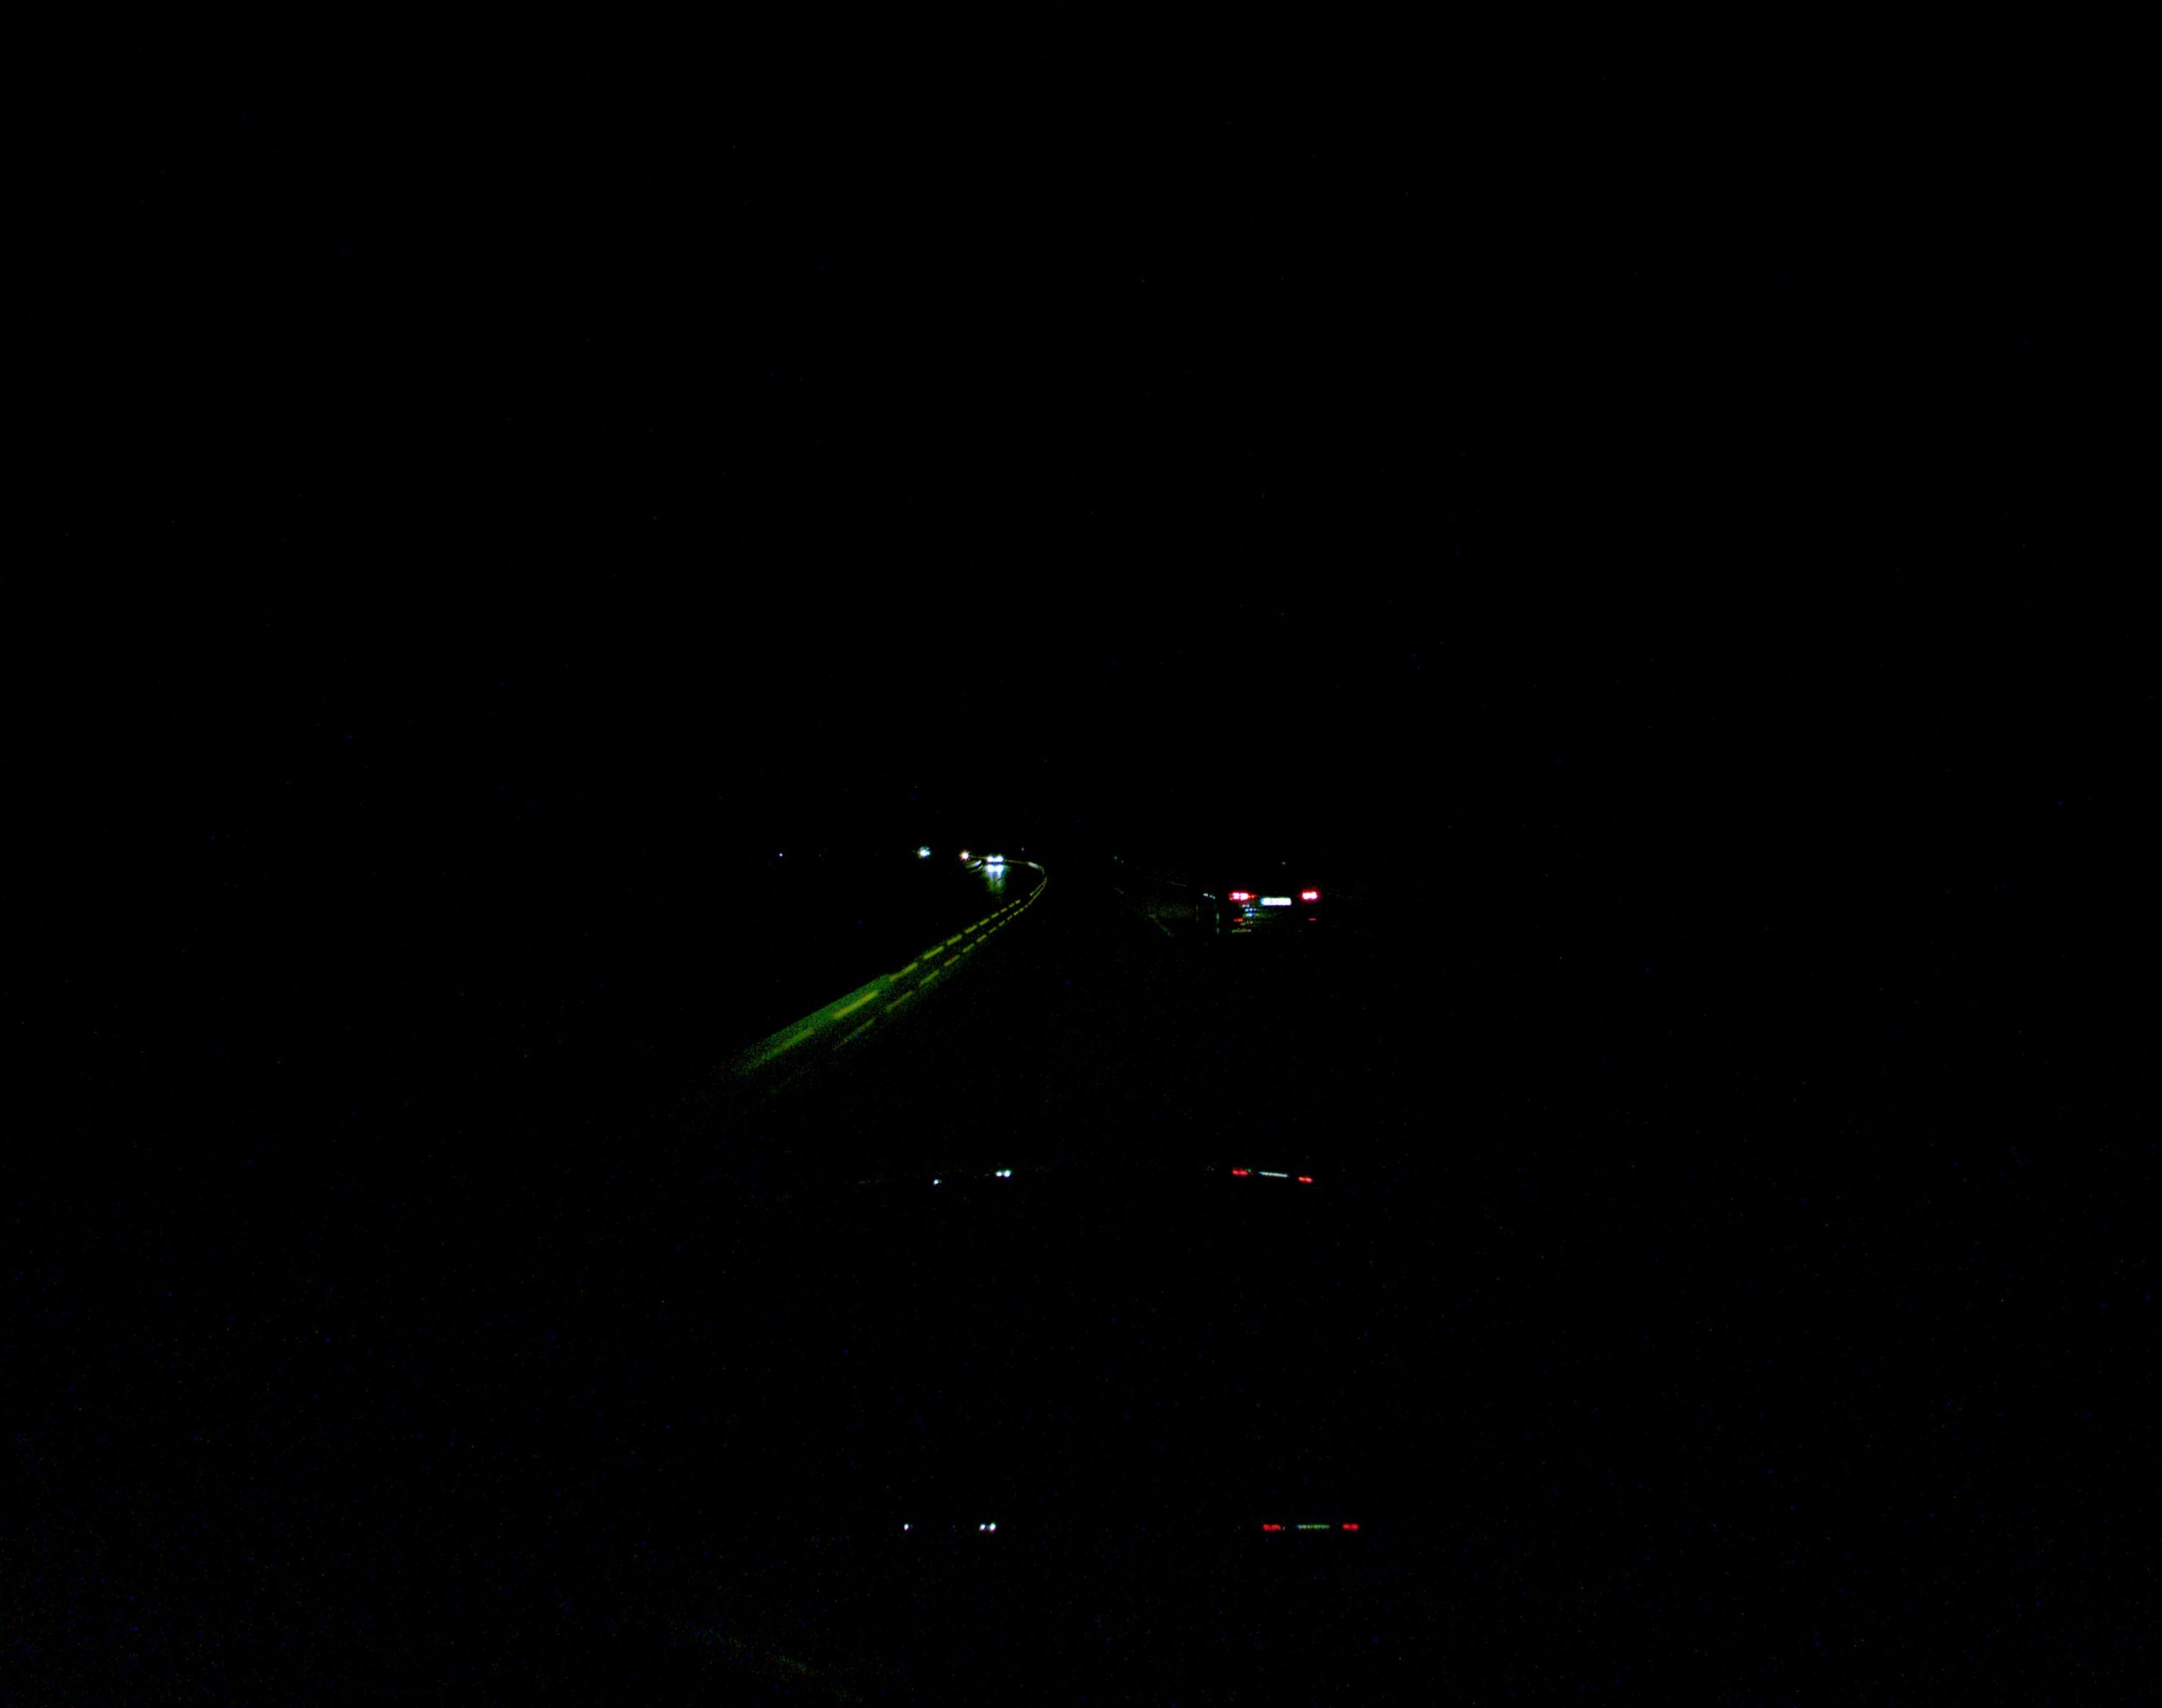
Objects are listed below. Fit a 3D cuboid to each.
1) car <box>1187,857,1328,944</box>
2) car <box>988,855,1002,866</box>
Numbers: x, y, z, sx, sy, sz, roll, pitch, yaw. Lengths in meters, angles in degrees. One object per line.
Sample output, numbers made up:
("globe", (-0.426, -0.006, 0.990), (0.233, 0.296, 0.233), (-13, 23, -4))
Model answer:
("car", (3.303, 0.802, 16.195), (1.802, 1.426, 4.875), (-1, 0, 1))
("car", (-13.046, 0.944, 123.670), (2.011, 1.639, 4.849), (-1, -1, -7))
